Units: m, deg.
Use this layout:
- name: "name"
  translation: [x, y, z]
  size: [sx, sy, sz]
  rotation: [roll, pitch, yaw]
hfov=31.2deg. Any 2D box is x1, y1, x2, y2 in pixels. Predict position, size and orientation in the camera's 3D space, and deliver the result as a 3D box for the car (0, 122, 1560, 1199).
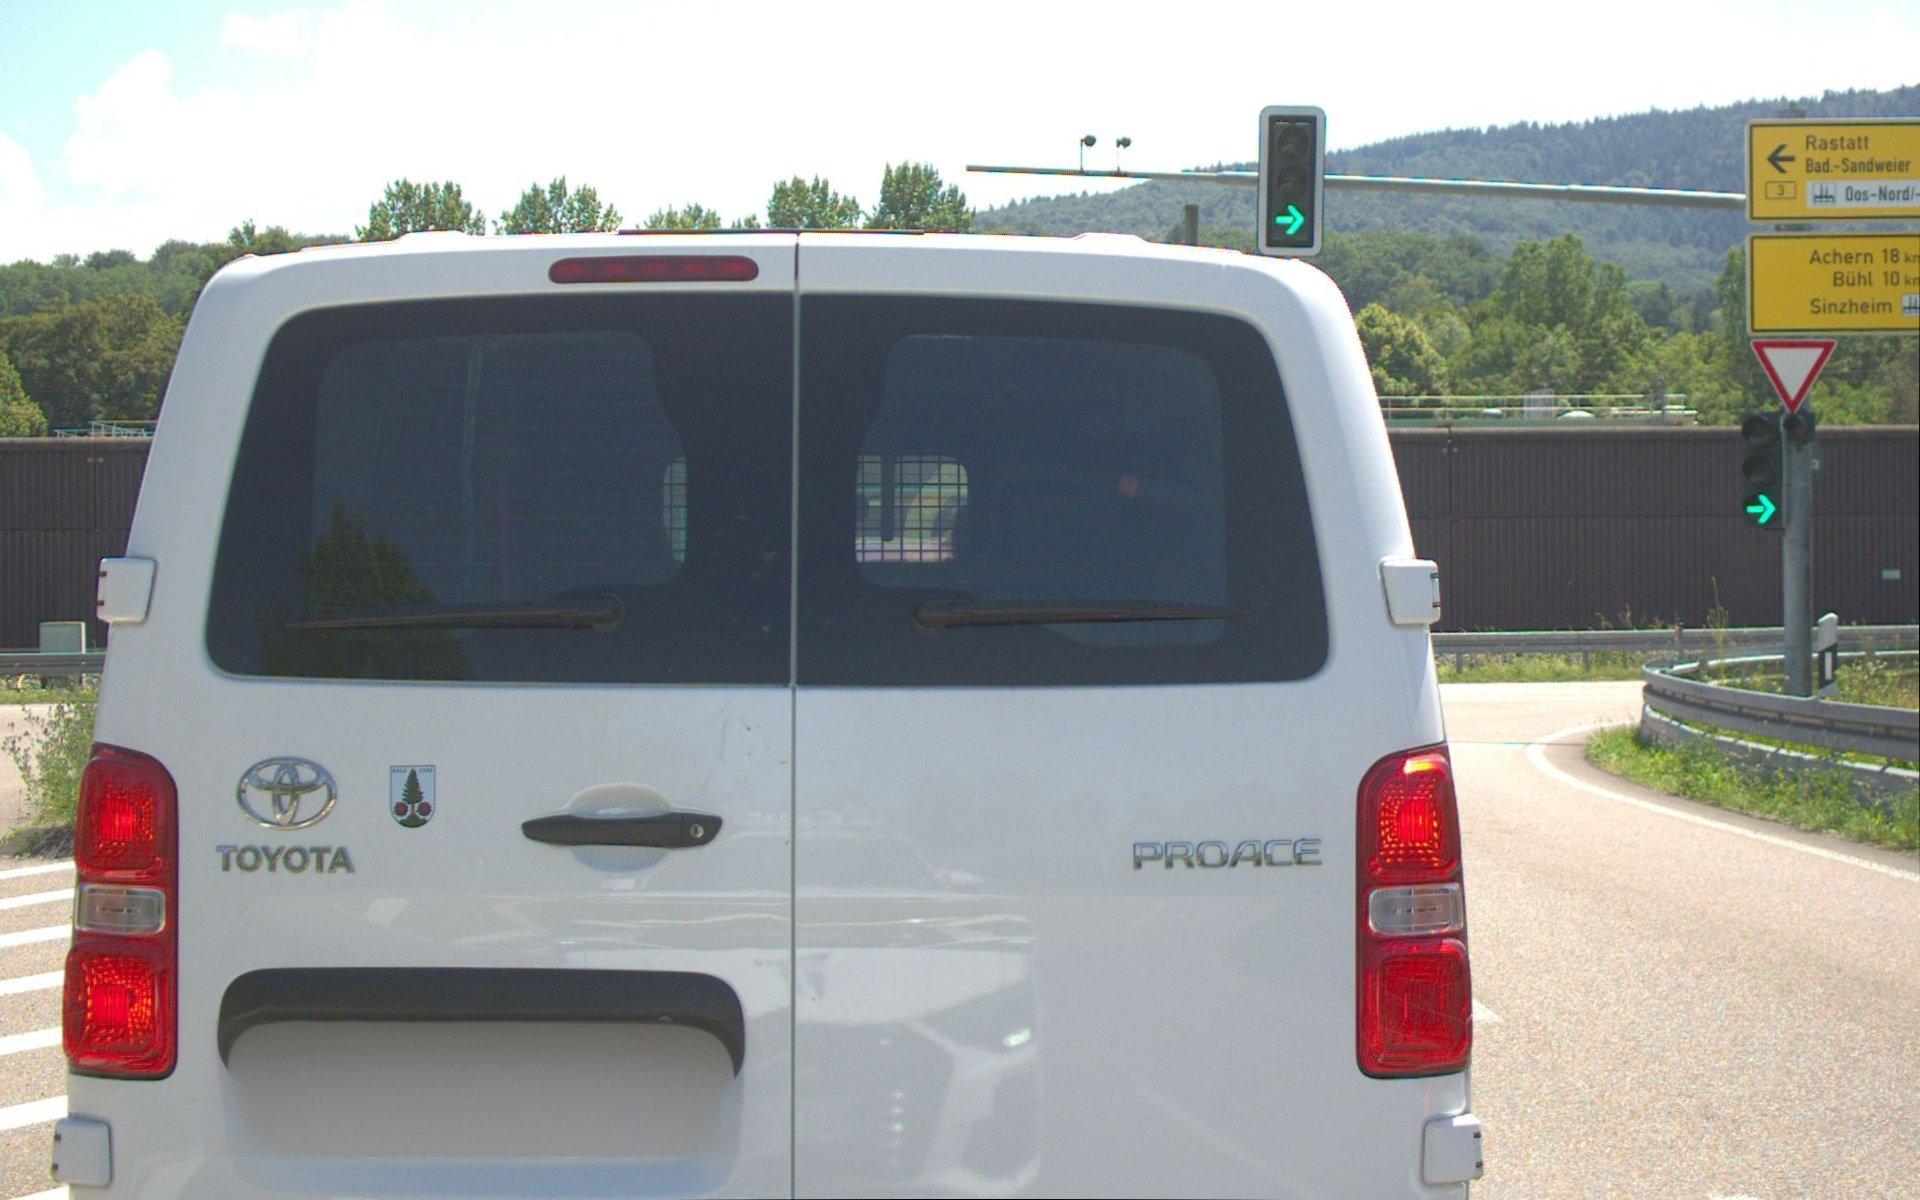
- name: "car"
  translation: [-0.250, 0.444, 5.924]
  size: [1.814, 2.011, 4.000]
  rotation: [0, 1, -1]
